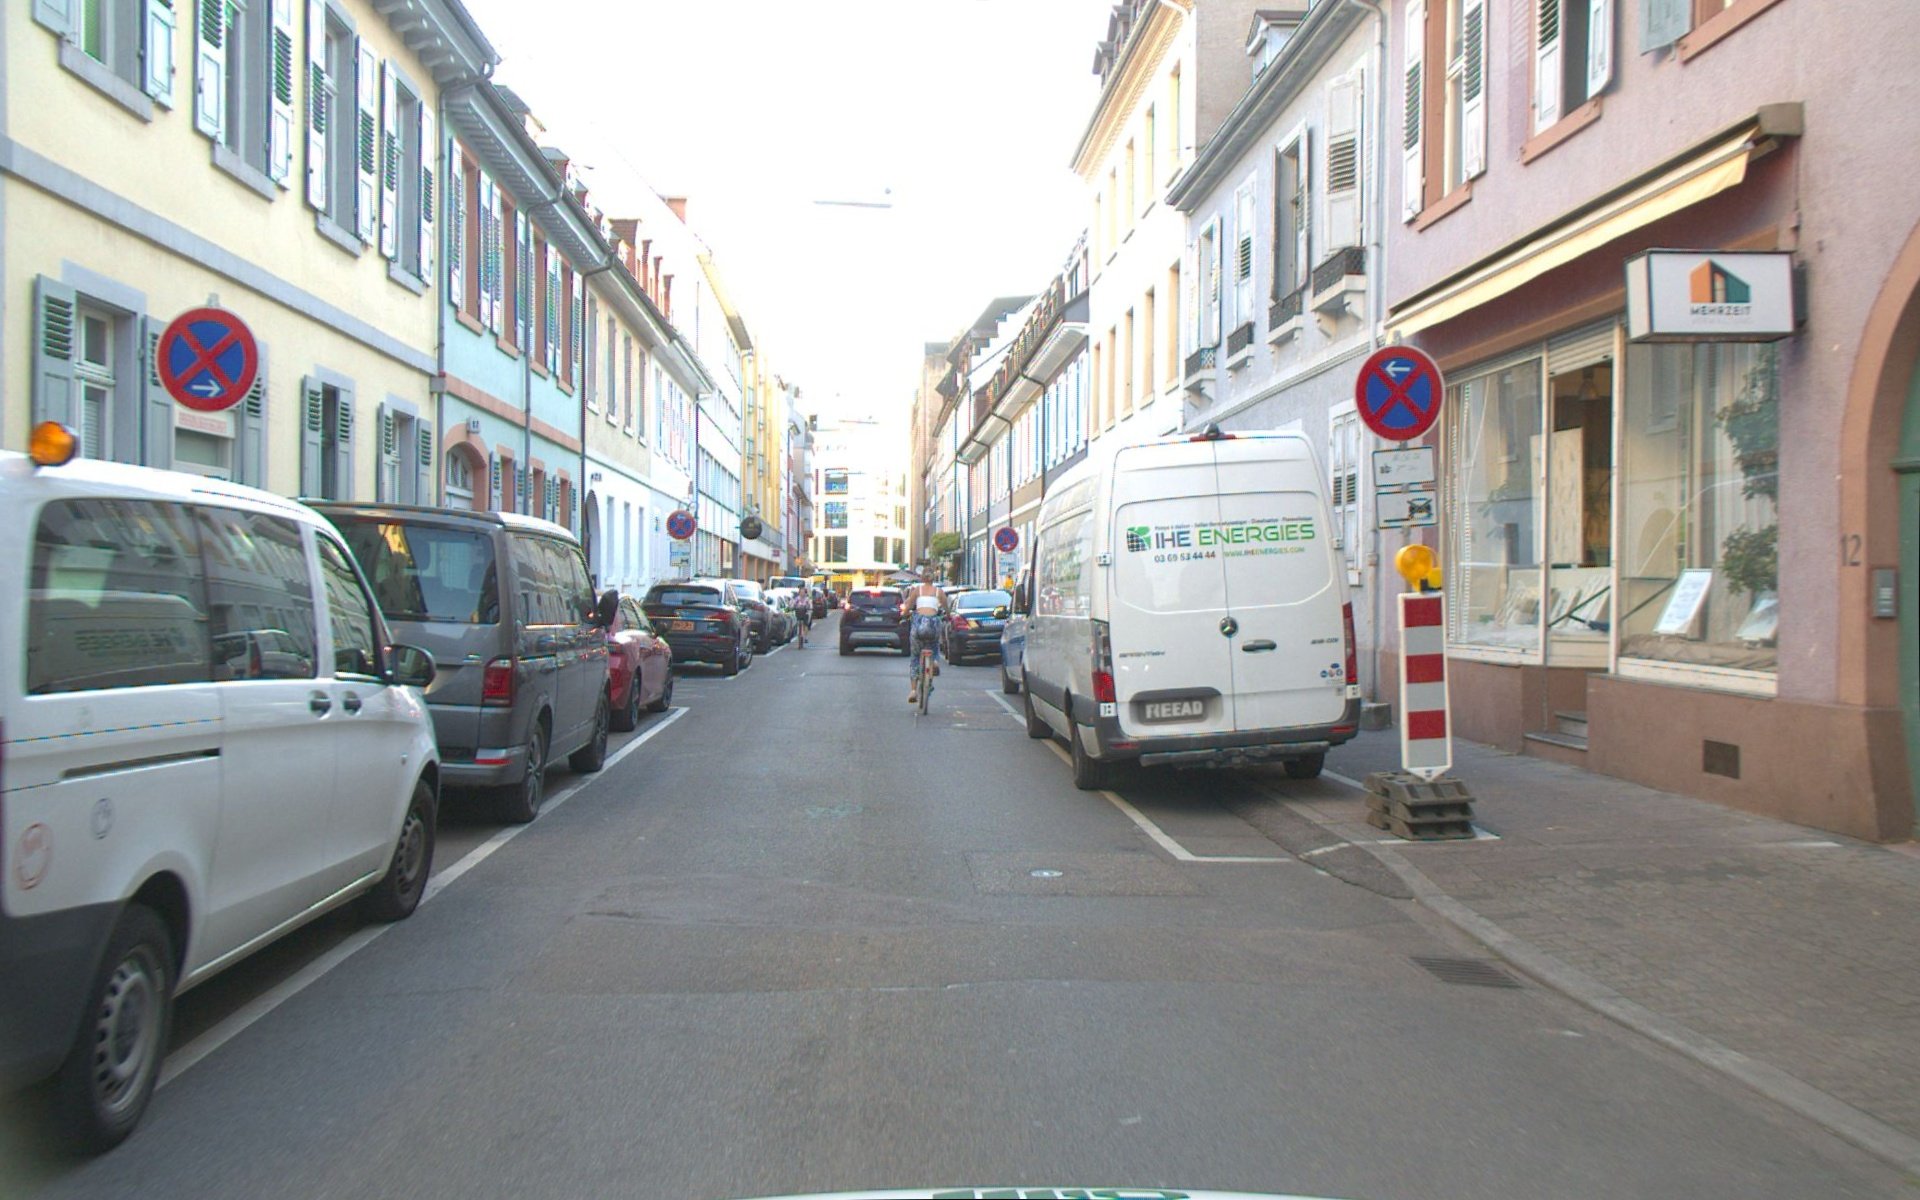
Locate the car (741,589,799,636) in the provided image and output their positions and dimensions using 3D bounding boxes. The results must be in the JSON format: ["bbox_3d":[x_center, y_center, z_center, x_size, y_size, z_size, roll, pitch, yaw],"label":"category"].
[{"bbox_3d":[-6.150,0.378,53.832,1.620,1.435,3.900,2,0,-3],"label":"car"}]

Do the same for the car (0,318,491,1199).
[{"bbox_3d":[-3.122,0.411,5.887,1.826,2.049,5.101,0,0,-5],"label":"car"}]

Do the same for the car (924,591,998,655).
[{"bbox_3d":[-0.020,0.555,42.346,1.643,1.512,3.997,2,0,-3],"label":"car"}]

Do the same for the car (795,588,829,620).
[{"bbox_3d":[-7.698,0.189,86.376,1.620,1.588,3.603,2,0,-3],"label":"car"}]

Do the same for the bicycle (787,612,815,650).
[{"bbox_3d":[-4.234,0.809,44.064,0.601,0.948,1.886,1,0,-2],"label":"bicycle"}]

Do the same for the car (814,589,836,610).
[{"bbox_3d":[-10.712,-0.082,131.619,1.620,1.588,3.603,2,0,-3],"label":"car"}]

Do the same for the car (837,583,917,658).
[{"bbox_3d":[-2.018,0.464,39.784,1.783,1.646,3.997,2,0,-4],"label":"car"}]

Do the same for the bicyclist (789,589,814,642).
[{"bbox_3d":[-4.230,0.414,44.140,0.593,1.393,0.621,1,0,-3],"label":"bicyclist"}]

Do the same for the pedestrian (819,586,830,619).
[{"bbox_3d":[-7.377,0.128,90.064,0.543,1.783,0.567,1,0,-6],"label":"pedestrian"}]

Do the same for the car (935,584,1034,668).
[{"bbox_3d":[0.456,0.503,35.271,1.783,1.556,5.069,-3,0,-2],"label":"car"}]

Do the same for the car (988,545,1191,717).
[{"bbox_3d":[1.579,0.353,22.173,1.903,1.927,5.313,-3,0,-4],"label":"car"}]

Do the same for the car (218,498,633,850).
[{"bbox_3d":[-3.606,0.419,12.121,1.826,2.049,4.809,0,0,-5],"label":"car"}]

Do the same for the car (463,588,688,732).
[{"bbox_3d":[-4.216,0.598,18.774,1.729,1.426,4.260,1,0,-3],"label":"car"}]

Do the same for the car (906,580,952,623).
[{"bbox_3d":[-1.230,0.059,64.658,1.620,1.588,3.603,2,0,-3],"label":"car"}]

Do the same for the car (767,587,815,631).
[{"bbox_3d":[-6.507,0.323,63.893,1.620,1.588,3.603,2,0,-3],"label":"car"}]

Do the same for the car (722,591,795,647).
[{"bbox_3d":[-5.728,0.504,47.438,1.881,1.459,4.289,2,0,-5],"label":"car"}]

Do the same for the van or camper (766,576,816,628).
[{"bbox_3d":[-7.073,0.064,69.712,1.807,2.048,4.675,2,0,-3],"label":"van or camper"}]

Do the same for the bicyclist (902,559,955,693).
[{"bbox_3d":[-0.393,0.312,20.345,0.608,1.602,0.683,1,0,-3],"label":"bicyclist"}]

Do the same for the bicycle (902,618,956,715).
[{"bbox_3d":[-0.398,0.796,20.403,0.601,1.101,1.808,1,0,-2],"label":"bicycle"}]

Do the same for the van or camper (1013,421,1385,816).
[{"bbox_3d":[1.751,0.107,14.810,2.009,2.683,7.059,0,0,-2],"label":"van or camper"}]

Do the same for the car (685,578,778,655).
[{"bbox_3d":[-5.588,0.384,40.910,1.959,1.737,4.531,2,0,-5],"label":"car"}]

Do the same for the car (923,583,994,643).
[{"bbox_3d":[-0.092,0.382,52.491,1.880,1.768,4.149,2,0,-5],"label":"car"}]

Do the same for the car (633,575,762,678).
[{"bbox_3d":[-4.652,0.432,29.870,1.766,1.706,4.488,0,0,-2],"label":"car"}]

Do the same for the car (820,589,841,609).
[{"bbox_3d":[-10.862,-0.100,138.389,1.620,1.588,3.603,2,0,-3],"label":"car"}]

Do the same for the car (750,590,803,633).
[{"bbox_3d":[-6.503,0.378,58.907,1.620,1.435,3.603,2,0,-3],"label":"car"}]
